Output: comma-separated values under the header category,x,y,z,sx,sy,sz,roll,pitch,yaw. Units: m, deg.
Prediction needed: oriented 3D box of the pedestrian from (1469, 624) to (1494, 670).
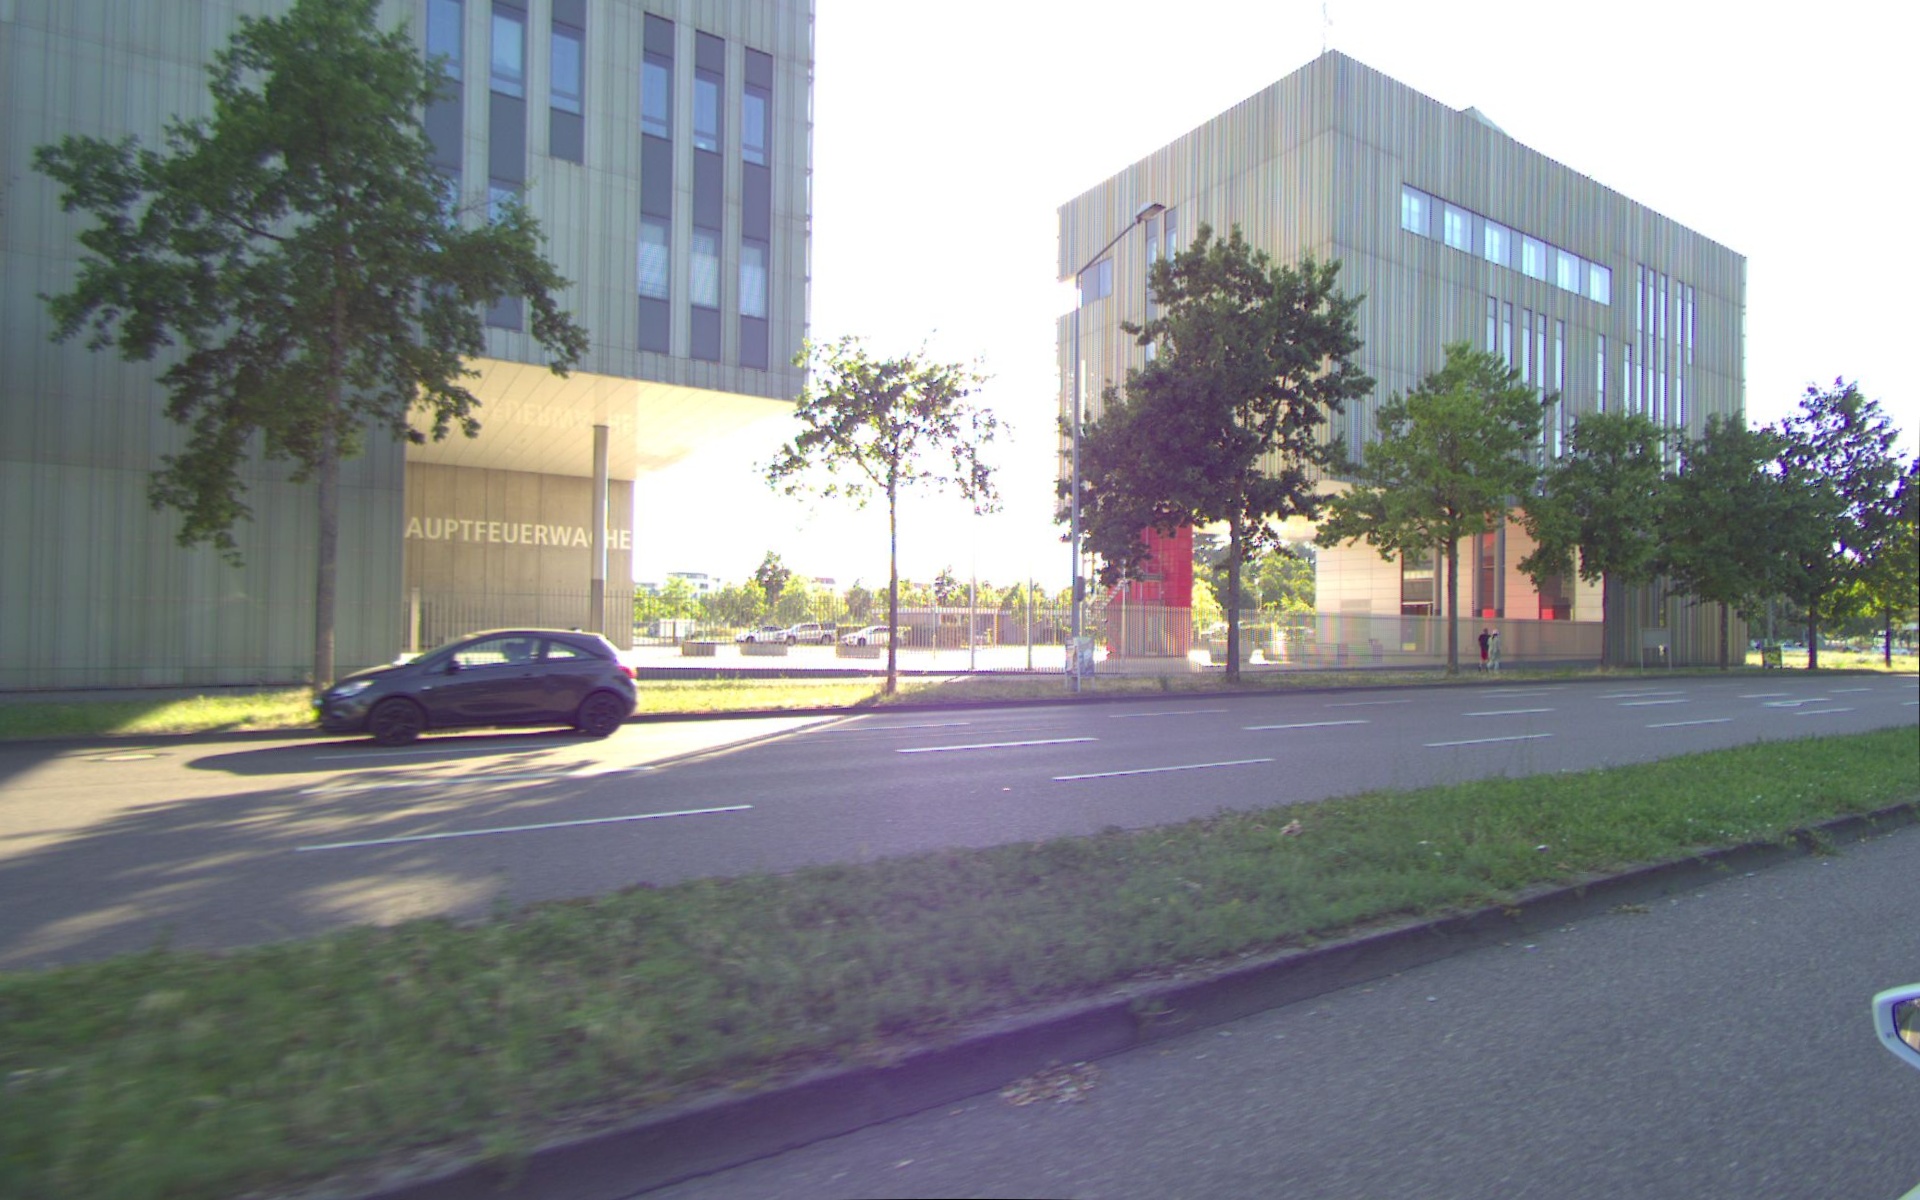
category,x,y,z,sx,sy,sz,roll,pitch,yaw
pedestrian,21.485,1.914,41.394,0.708,1.865,0.629,1,-1,-31

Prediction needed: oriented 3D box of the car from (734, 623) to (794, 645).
category,x,y,z,sx,sy,sz,roll,pitch,yaw
car,-16.969,2.923,86.931,4.736,1.843,1.894,1,-1,-34

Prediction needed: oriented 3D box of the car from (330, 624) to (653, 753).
category,x,y,z,sx,sy,sz,roll,pitch,yaw
car,-6.358,1.122,13.786,3.825,1.532,1.587,1,-1,-32

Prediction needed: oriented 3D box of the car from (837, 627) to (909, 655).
category,x,y,z,sx,sy,sz,roll,pitch,yaw
car,-6.061,2.892,70.452,4.736,1.899,1.894,2,-1,-34

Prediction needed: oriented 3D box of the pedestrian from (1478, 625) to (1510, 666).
category,x,y,z,sx,sy,sz,roll,pitch,yaw
pedestrian,21.411,1.825,40.278,0.899,1.622,0.772,1,-1,-31

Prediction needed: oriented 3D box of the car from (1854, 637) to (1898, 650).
category,x,y,z,sx,sy,sz,roll,pitch,yaw
car,114.788,5.468,125.865,3.634,1.528,1.876,0,-2,16

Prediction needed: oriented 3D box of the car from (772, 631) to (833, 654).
category,x,y,z,sx,sy,sz,roll,pitch,yaw
car,-12.667,3.416,80.806,4.460,1.773,1.894,2,-1,-34
